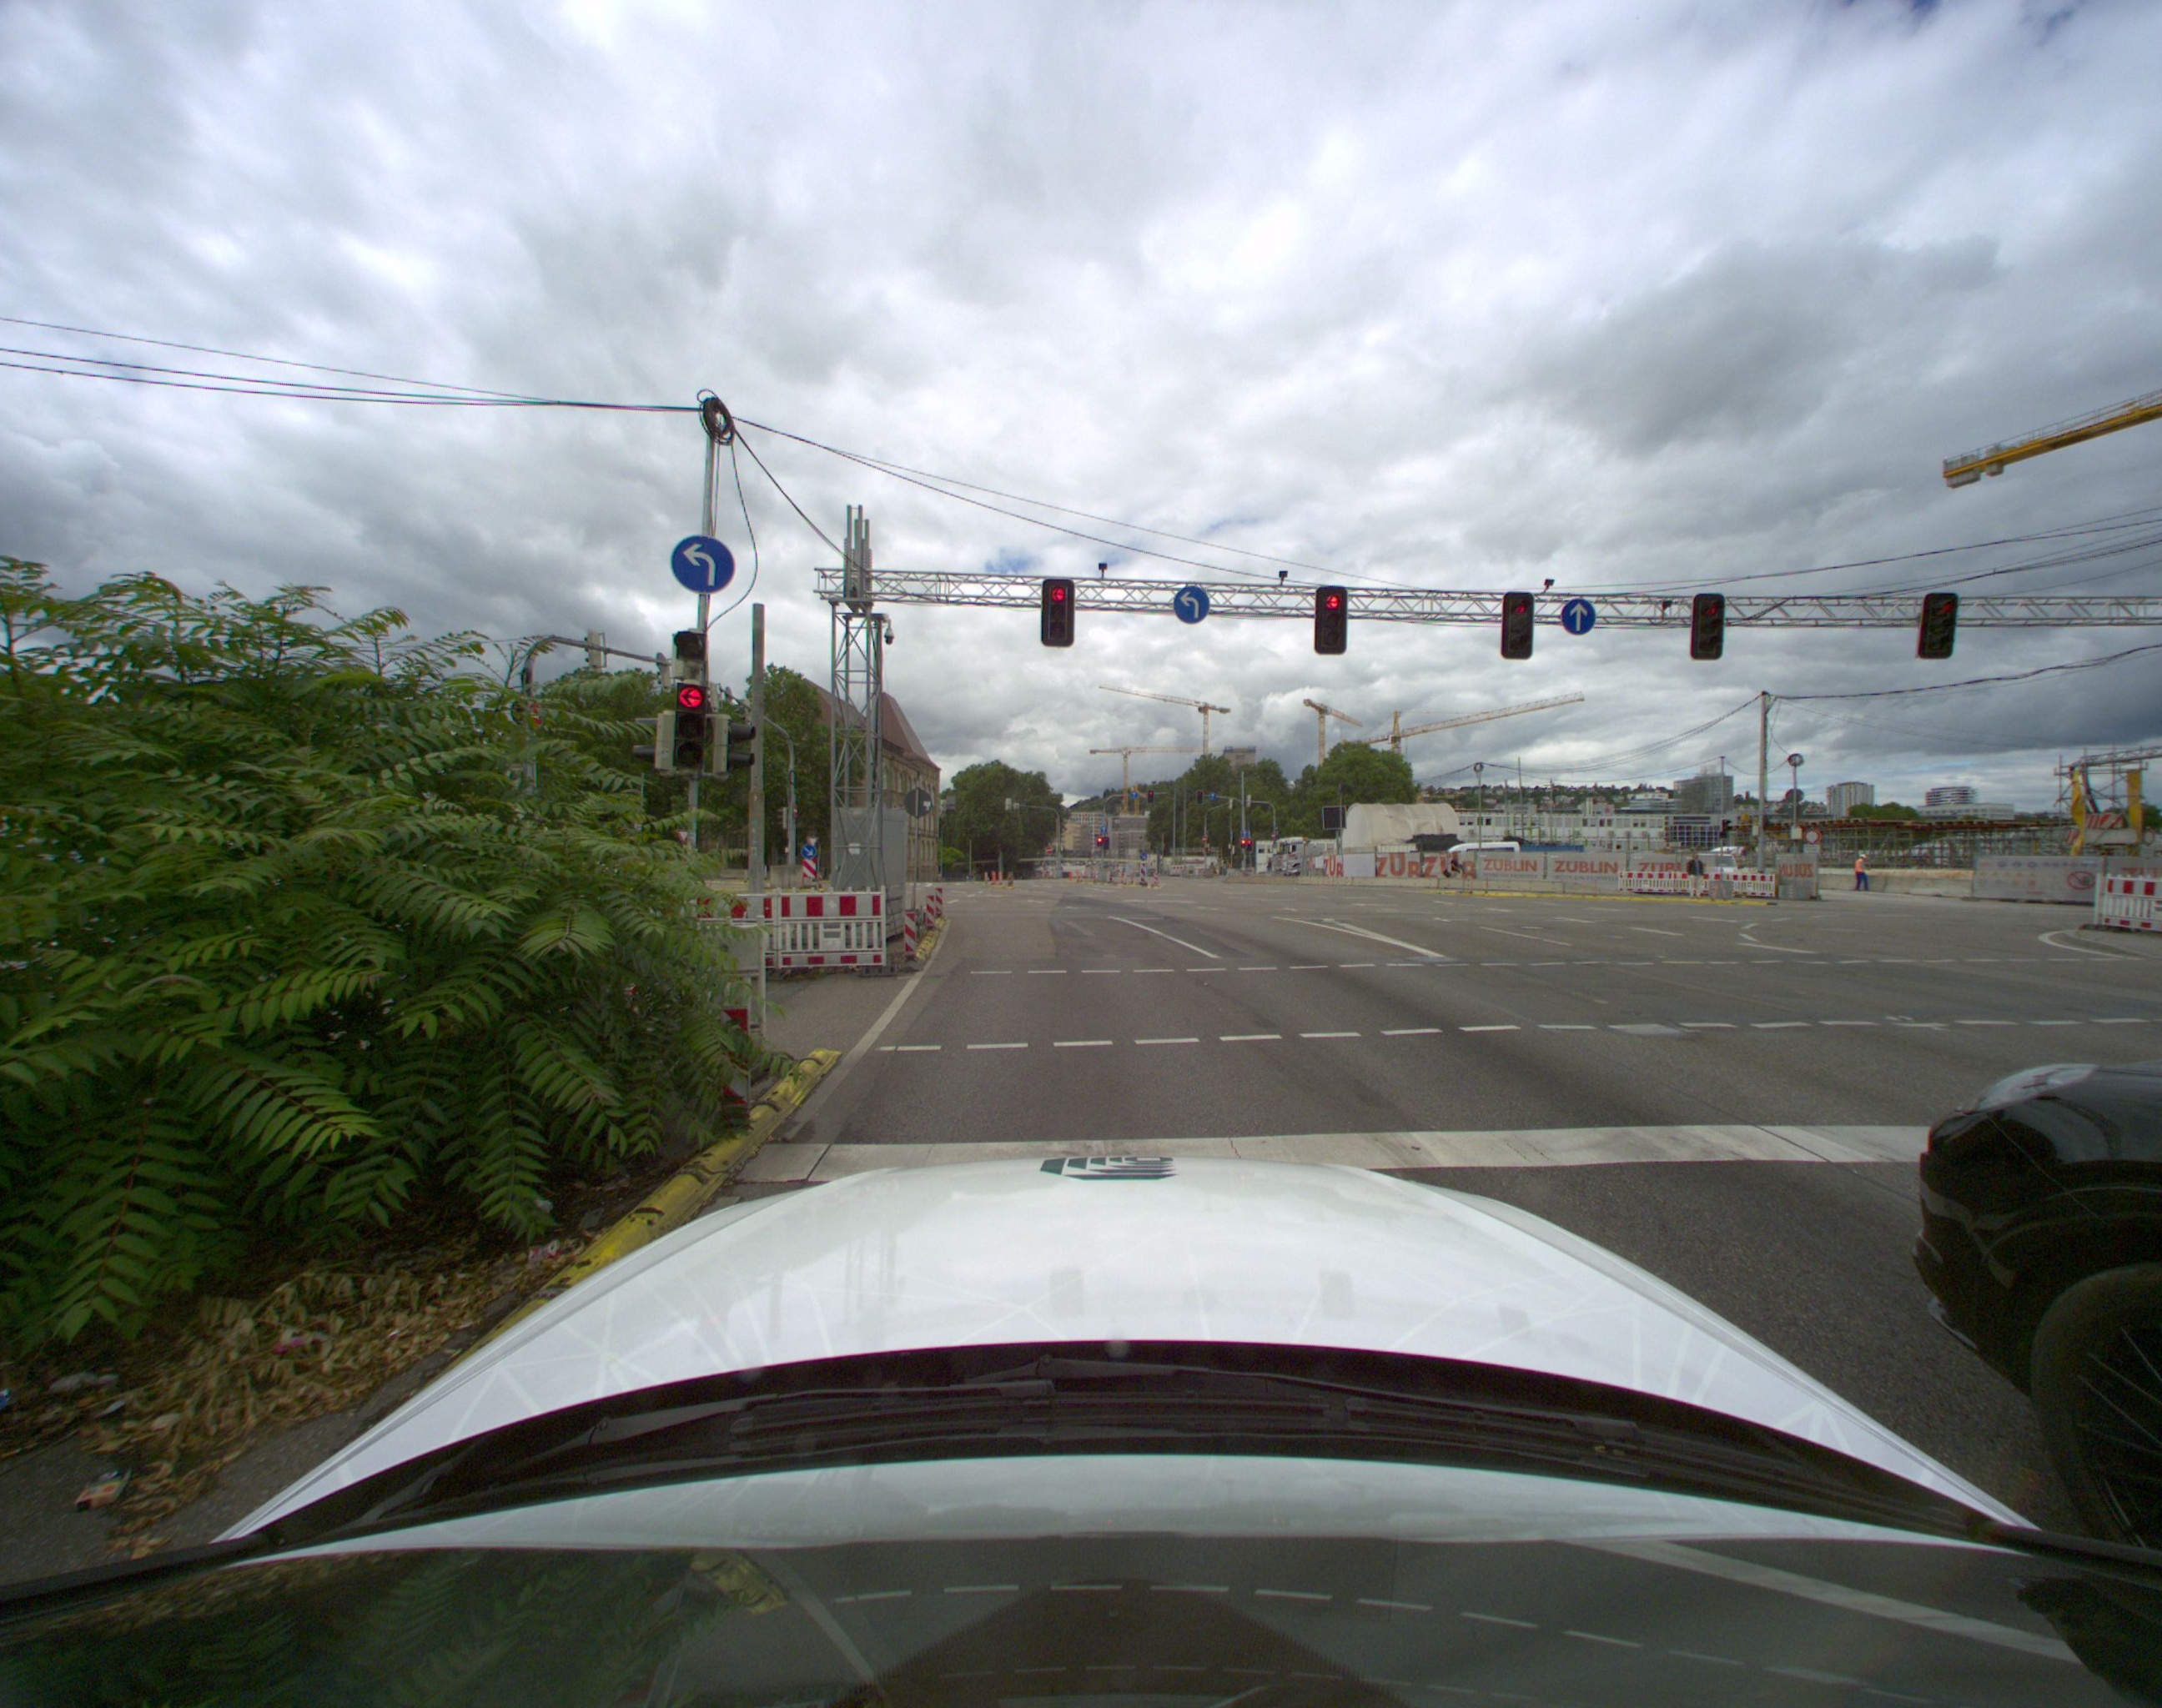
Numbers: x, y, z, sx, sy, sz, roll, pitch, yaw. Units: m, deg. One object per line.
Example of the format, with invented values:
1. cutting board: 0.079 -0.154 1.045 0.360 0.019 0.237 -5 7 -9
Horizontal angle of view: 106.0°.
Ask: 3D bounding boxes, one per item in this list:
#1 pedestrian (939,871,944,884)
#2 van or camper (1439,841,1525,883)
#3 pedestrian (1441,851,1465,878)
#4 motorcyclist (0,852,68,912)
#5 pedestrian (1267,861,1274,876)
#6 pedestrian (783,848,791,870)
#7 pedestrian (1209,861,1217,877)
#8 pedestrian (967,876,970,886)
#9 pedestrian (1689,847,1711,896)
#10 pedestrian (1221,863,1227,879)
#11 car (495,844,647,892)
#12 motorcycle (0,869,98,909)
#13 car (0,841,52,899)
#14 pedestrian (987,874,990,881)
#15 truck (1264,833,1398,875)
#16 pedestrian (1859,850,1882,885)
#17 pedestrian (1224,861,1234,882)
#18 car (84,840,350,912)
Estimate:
1. pedestrian: -21.019 3.561 122.751 0.522 2.014 0.567 0 0 2
2. van or camper: 23.149 0.422 47.200 4.181 2.357 2.009 0 0 16
3. pedestrian: 19.605 0.547 42.940 0.803 1.378 0.895 0 0 -37
4. motorcyclist: -25.620 0.662 19.819 0.963 1.423 0.745 0 0 -4
5. pedestrian: 20.729 1.597 89.064 0.615 1.689 0.716 0 0 31
6. pedestrian: -26.769 0.421 74.156 0.530 2.014 0.423 1 -1 -42
7. pedestrian: 14.507 1.664 89.481 0.726 1.689 0.678 0 0 1
8. pedestrian: -21.300 5.142 154.649 0.522 2.014 0.567 0 0 2
9. pedestrian: 25.644 0.733 33.759 0.645 2.013 0.520 0 0 27
10. pedestrian: 15.727 1.892 89.672 0.564 1.689 0.472 0 0 1
11. car: -18.821 0.499 30.243 4.315 1.676 1.992 0 0 -12
12. motorcycle: -25.472 0.849 19.805 2.051 0.924 0.756 0 0 -4
13. car: -32.986 0.442 23.313 4.302 1.676 1.998 0 0 -3
14. pedestrian: -20.312 5.179 178.532 0.534 1.592 0.515 0 0 -2
15. truck: 25.032 -0.025 81.586 13.062 4.041 3.926 0 0 -18
16. pedestrian: 39.073 0.680 40.317 0.651 1.717 0.516 0 0 -9
17. pedestrian: 12.248 1.434 67.375 0.726 1.689 0.678 0 0 1
18. car: -21.297 0.524 20.247 4.302 1.676 1.998 0 0 -3
